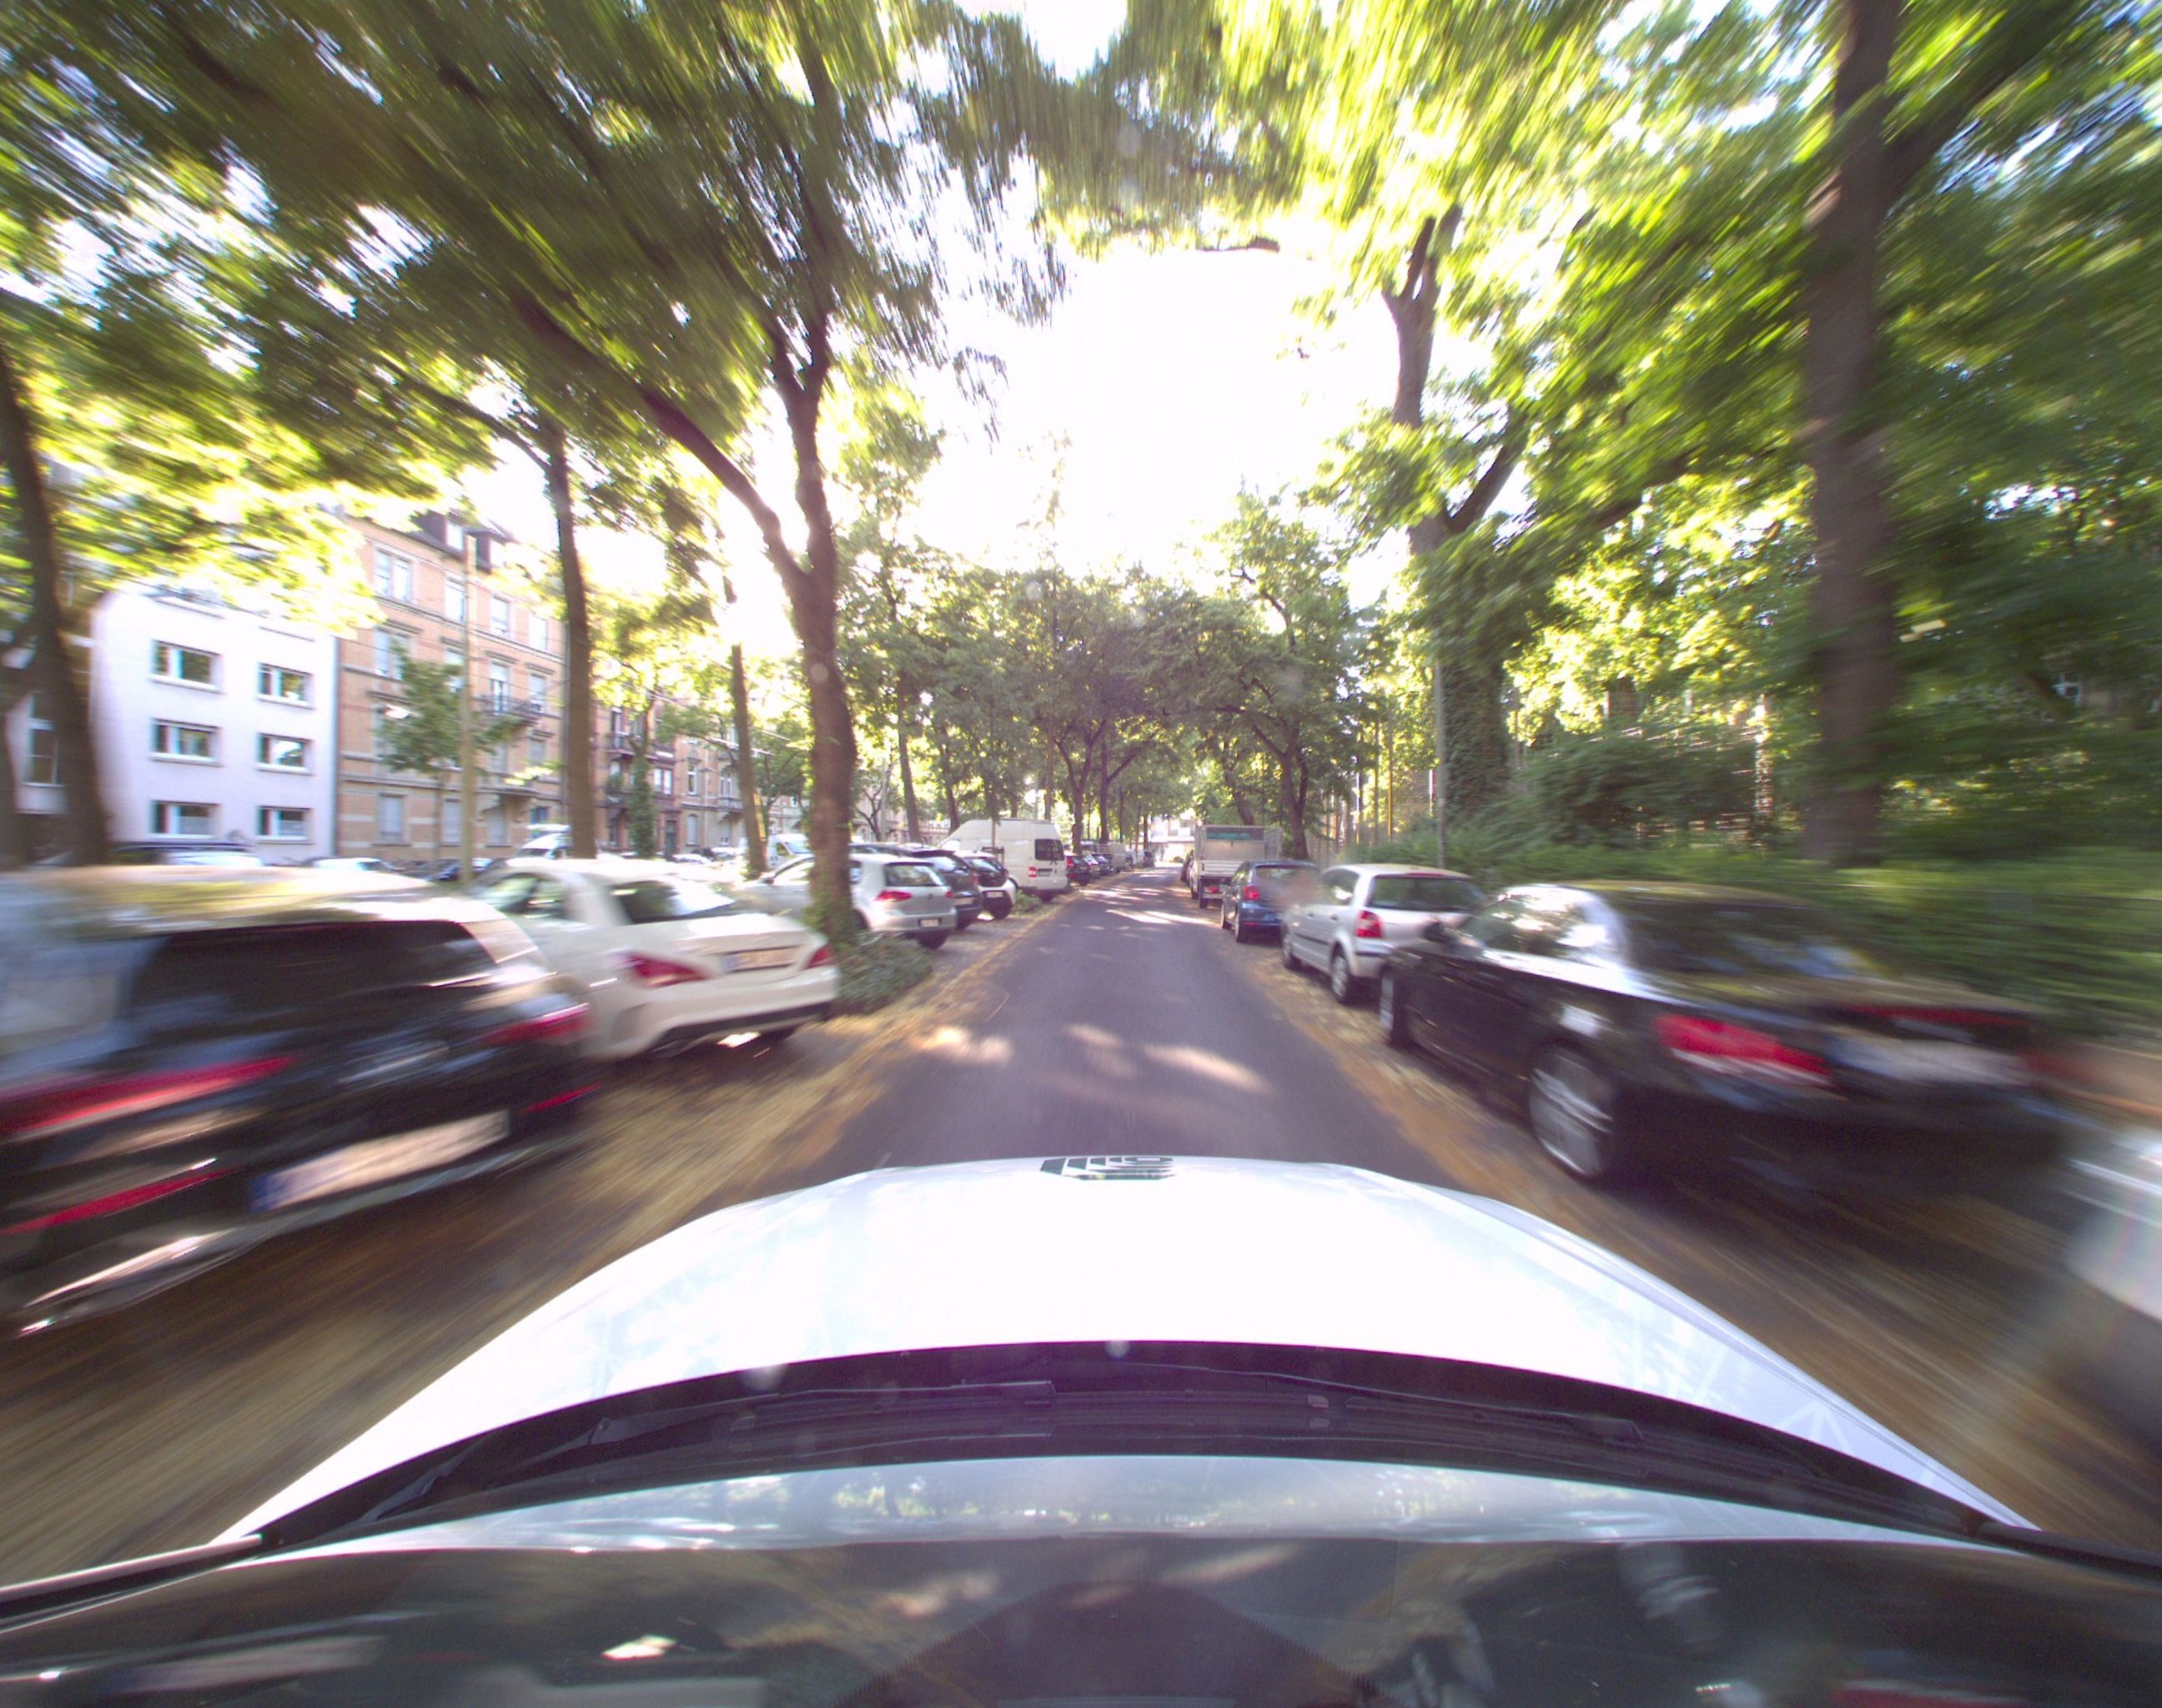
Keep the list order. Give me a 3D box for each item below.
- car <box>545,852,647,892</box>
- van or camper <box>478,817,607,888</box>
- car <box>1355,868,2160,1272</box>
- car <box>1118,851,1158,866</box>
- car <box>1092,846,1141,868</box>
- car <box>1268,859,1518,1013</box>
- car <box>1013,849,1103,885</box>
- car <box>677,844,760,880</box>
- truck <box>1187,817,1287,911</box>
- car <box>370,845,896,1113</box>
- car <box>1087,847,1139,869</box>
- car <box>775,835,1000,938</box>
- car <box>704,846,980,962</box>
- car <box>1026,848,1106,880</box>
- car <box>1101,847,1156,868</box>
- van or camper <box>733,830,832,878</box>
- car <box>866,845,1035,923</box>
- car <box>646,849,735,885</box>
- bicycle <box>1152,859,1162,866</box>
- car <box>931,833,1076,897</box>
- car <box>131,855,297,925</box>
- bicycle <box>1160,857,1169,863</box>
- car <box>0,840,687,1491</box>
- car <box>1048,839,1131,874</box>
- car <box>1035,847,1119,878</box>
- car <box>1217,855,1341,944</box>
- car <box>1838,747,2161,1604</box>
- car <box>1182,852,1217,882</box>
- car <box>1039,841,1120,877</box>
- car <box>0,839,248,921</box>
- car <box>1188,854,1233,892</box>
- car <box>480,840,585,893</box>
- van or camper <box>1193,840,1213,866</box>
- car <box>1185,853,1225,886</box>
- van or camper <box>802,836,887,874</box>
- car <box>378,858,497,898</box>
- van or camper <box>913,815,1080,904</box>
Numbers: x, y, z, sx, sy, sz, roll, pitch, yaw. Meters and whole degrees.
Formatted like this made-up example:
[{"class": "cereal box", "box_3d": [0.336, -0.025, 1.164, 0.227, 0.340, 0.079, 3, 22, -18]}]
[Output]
[{"class": "car", "box_3d": [-18.144, 0.663, 30.395, 3.948, 1.381, 1.815, -1, 0, 35]}, {"class": "van or camper", "box_3d": [-25.326, -0.074, 38.637, 2.064, 3.109, 5.523, 0, 0, 6]}, {"class": "car", "box_3d": [3.189, 0.823, 5.123, 1.666, 1.390, 4.268, 0, 0, 2]}, {"class": "car", "box_3d": [6.608, 0.503, 94.089, 4.147, 1.439, 1.843, 3, 0, 33]}, {"class": "car", "box_3d": [3.185, 0.295, 73.555, 4.109, 1.781, 1.895, 3, 0, 44]}, {"class": "car", "box_3d": [3.457, 0.799, 9.812, 1.666, 1.458, 3.895, 0, 0, 2]}, {"class": "car", "box_3d": [-1.089, 0.565, 37.059, 3.777, 1.439, 1.836, 3, 0, 41]}, {"class": "car", "box_3d": [-17.295, 0.382, 38.756, 4.268, 1.582, 1.919, -1, 0, 40]}, {"class": "truck", "box_3d": [4.440, 0.245, 24.300, 2.284, 2.386, 6.944, 0, 0, 5]}, {"class": "car", "box_3d": [-3.827, 0.723, 6.728, 4.409, 1.404, 1.868, 3, 1, 32]}, {"class": "car", "box_3d": [2.718, 0.333, 70.359, 4.108, 1.644, 1.927, 3, 0, 39]}, {"class": "car", "box_3d": [-3.802, 0.561, 15.937, 3.990, 1.662, 1.868, 3, 0, 29]}, {"class": "car", "box_3d": [-3.887, 0.692, 13.060, 4.190, 1.440, 1.868, 3, 0, 32]}, {"class": "car", "box_3d": [-0.843, 0.513, 43.847, 4.042, 1.488, 1.795, 3, 0, 38]}, {"class": "car", "box_3d": [4.616, 0.334, 79.431, 4.938, 1.781, 2.000, 3, 0, 35]}, {"class": "van or camper", "box_3d": [-16.427, 0.025, 44.724, 5.604, 2.468, 2.013, -1, 0, 31]}, {"class": "car", "box_3d": [-3.042, 0.640, 18.737, 3.505, 1.493, 1.837, 3, 0, 36]}, {"class": "car", "box_3d": [-17.582, 0.612, 36.596, 4.268, 1.385, 1.919, -4, -2, 39]}, {"class": "bicycle", "box_3d": [12.059, 1.322, 128.527, 0.641, 1.022, 2.071, 0, 0, -24]}, {"class": "car", "box_3d": [-2.763, 0.338, 28.455, 4.824, 1.977, 2.058, 3, 0, 36]}, {"class": "car", "box_3d": [-19.612, 0.734, 18.396, 3.949, 1.427, 1.783, 0, 0, 31]}, {"class": "bicycle", "box_3d": [13.042, 0.939, 126.630, 0.545, 0.904, 1.721, 0, 0, -26]}, {"class": "car", "box_3d": [-3.980, 0.719, 3.711, 4.260, 1.404, 1.755, 3, 1, 29]}, {"class": "car", "box_3d": [0.534, 0.170, 55.577, 5.444, 2.137, 2.094, 3, 0, 37]}, {"class": "car", "box_3d": [-0.264, 0.487, 46.480, 4.514, 1.540, 1.946, 3, 0, 40]}, {"class": "car", "box_3d": [3.592, 0.748, 15.370, 1.665, 1.458, 3.898, 0, 0, 4]}, {"class": "car", "box_3d": [3.012, 0.644, 0.141, 1.780, 1.707, 4.378, 0, 0, 1]}, {"class": "car", "box_3d": [6.137, 0.644, 42.323, 1.664, 1.454, 3.956, 0, 0, 6]}, {"class": "car", "box_3d": [-0.109, 0.271, 49.248, 4.654, 1.942, 1.946, 3, 0, 40]}, {"class": "car", "box_3d": [-26.613, 0.615, 22.763, 1.842, 1.993, 4.425, 2, 1, 6]}, {"class": "car", "box_3d": [5.116, 0.708, 32.585, 1.663, 1.397, 4.308, 0, 0, 7]}, {"class": "car", "box_3d": [-18.304, 0.406, 27.125, 3.948, 1.647, 1.749, -1, 0, 38]}, {"class": "van or camper", "box_3d": [13.302, -0.097, 88.646, 2.072, 2.762, 5.859, 0, 0, 9]}, {"class": "car", "box_3d": [5.710, 0.665, 37.734, 1.664, 1.454, 3.956, 0, 0, 6]}, {"class": "van or camper", "box_3d": [-15.504, 0.094, 53.302, 5.480, 2.371, 2.322, -1, 0, 34]}, {"class": "car", "box_3d": [-26.142, 0.929, 33.242, 1.842, 1.404, 3.514, 2, 1, 5]}, {"class": "van or camper", "box_3d": [-2.666, 0.106, 25.124, 4.824, 2.470, 2.058, 3, 0, 34]}]
